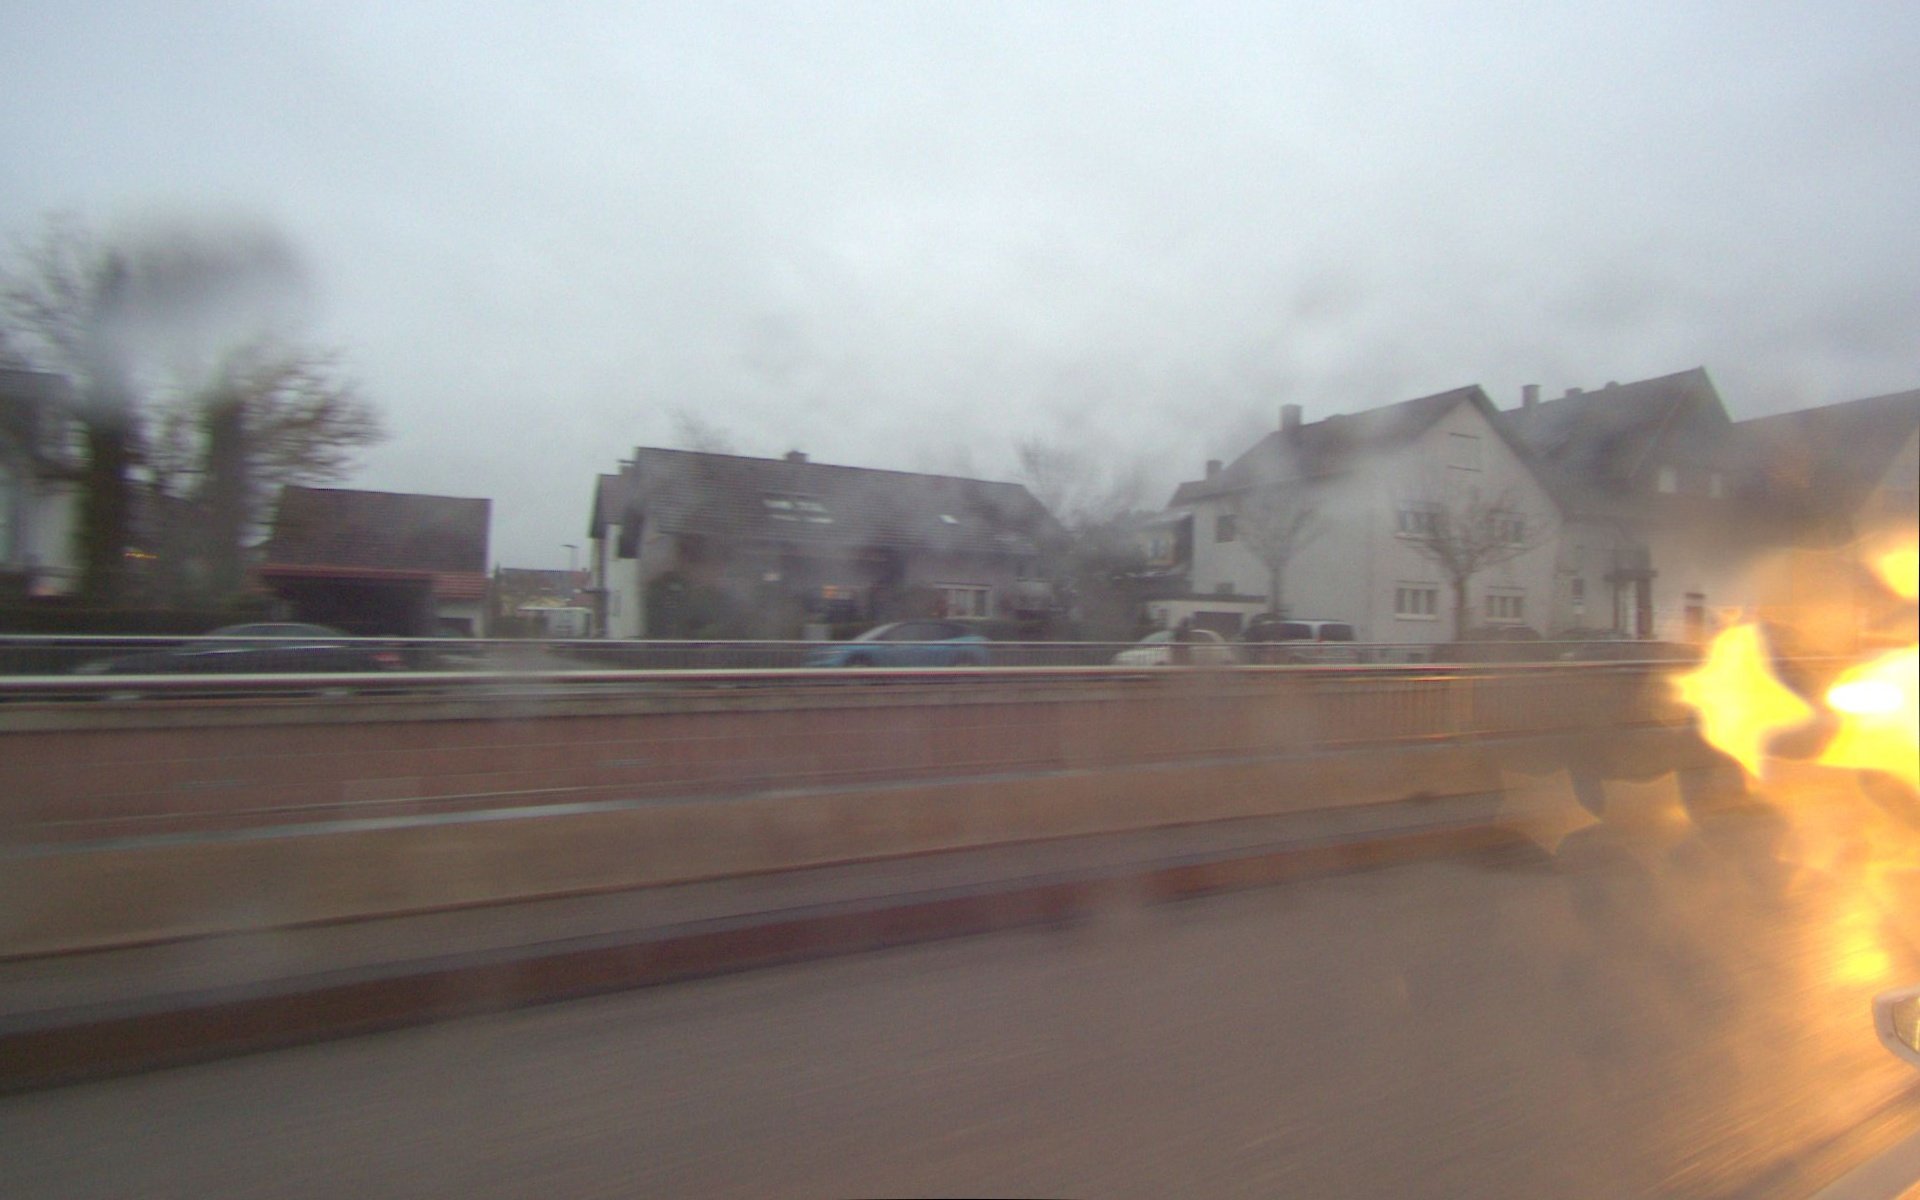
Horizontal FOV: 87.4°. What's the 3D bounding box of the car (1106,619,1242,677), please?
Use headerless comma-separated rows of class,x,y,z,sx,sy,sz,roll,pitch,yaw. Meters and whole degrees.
car,5.742,1.286,26.932,3.415,1.446,1.477,2,-1,-27

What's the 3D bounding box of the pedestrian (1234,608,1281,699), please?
pedestrian,5.768,1.029,19.492,0.534,1.720,0.661,1,0,-25

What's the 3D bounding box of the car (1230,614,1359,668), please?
car,11.213,1.372,33.912,1.841,1.716,3.971,1,-2,-28

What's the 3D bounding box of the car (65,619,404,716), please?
car,-12.049,1.080,17.100,4.451,1.452,1.864,1,-3,-32

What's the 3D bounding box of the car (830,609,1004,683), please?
car,-0.974,1.100,23.410,3.778,1.601,1.557,2,-3,-32

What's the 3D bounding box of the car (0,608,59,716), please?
car,-16.299,0.919,14.605,4.451,1.593,1.864,1,-2,-32

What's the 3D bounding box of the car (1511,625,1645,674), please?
car,21.187,1.646,34.424,4.158,1.583,1.906,1,-1,-24

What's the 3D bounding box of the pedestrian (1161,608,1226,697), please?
pedestrian,4.946,1.095,21.278,0.960,1.808,0.925,1,0,-25

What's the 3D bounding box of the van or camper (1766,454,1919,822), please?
van or camper,9.989,0.329,8.712,6.470,2.704,2.232,1,-1,-27
